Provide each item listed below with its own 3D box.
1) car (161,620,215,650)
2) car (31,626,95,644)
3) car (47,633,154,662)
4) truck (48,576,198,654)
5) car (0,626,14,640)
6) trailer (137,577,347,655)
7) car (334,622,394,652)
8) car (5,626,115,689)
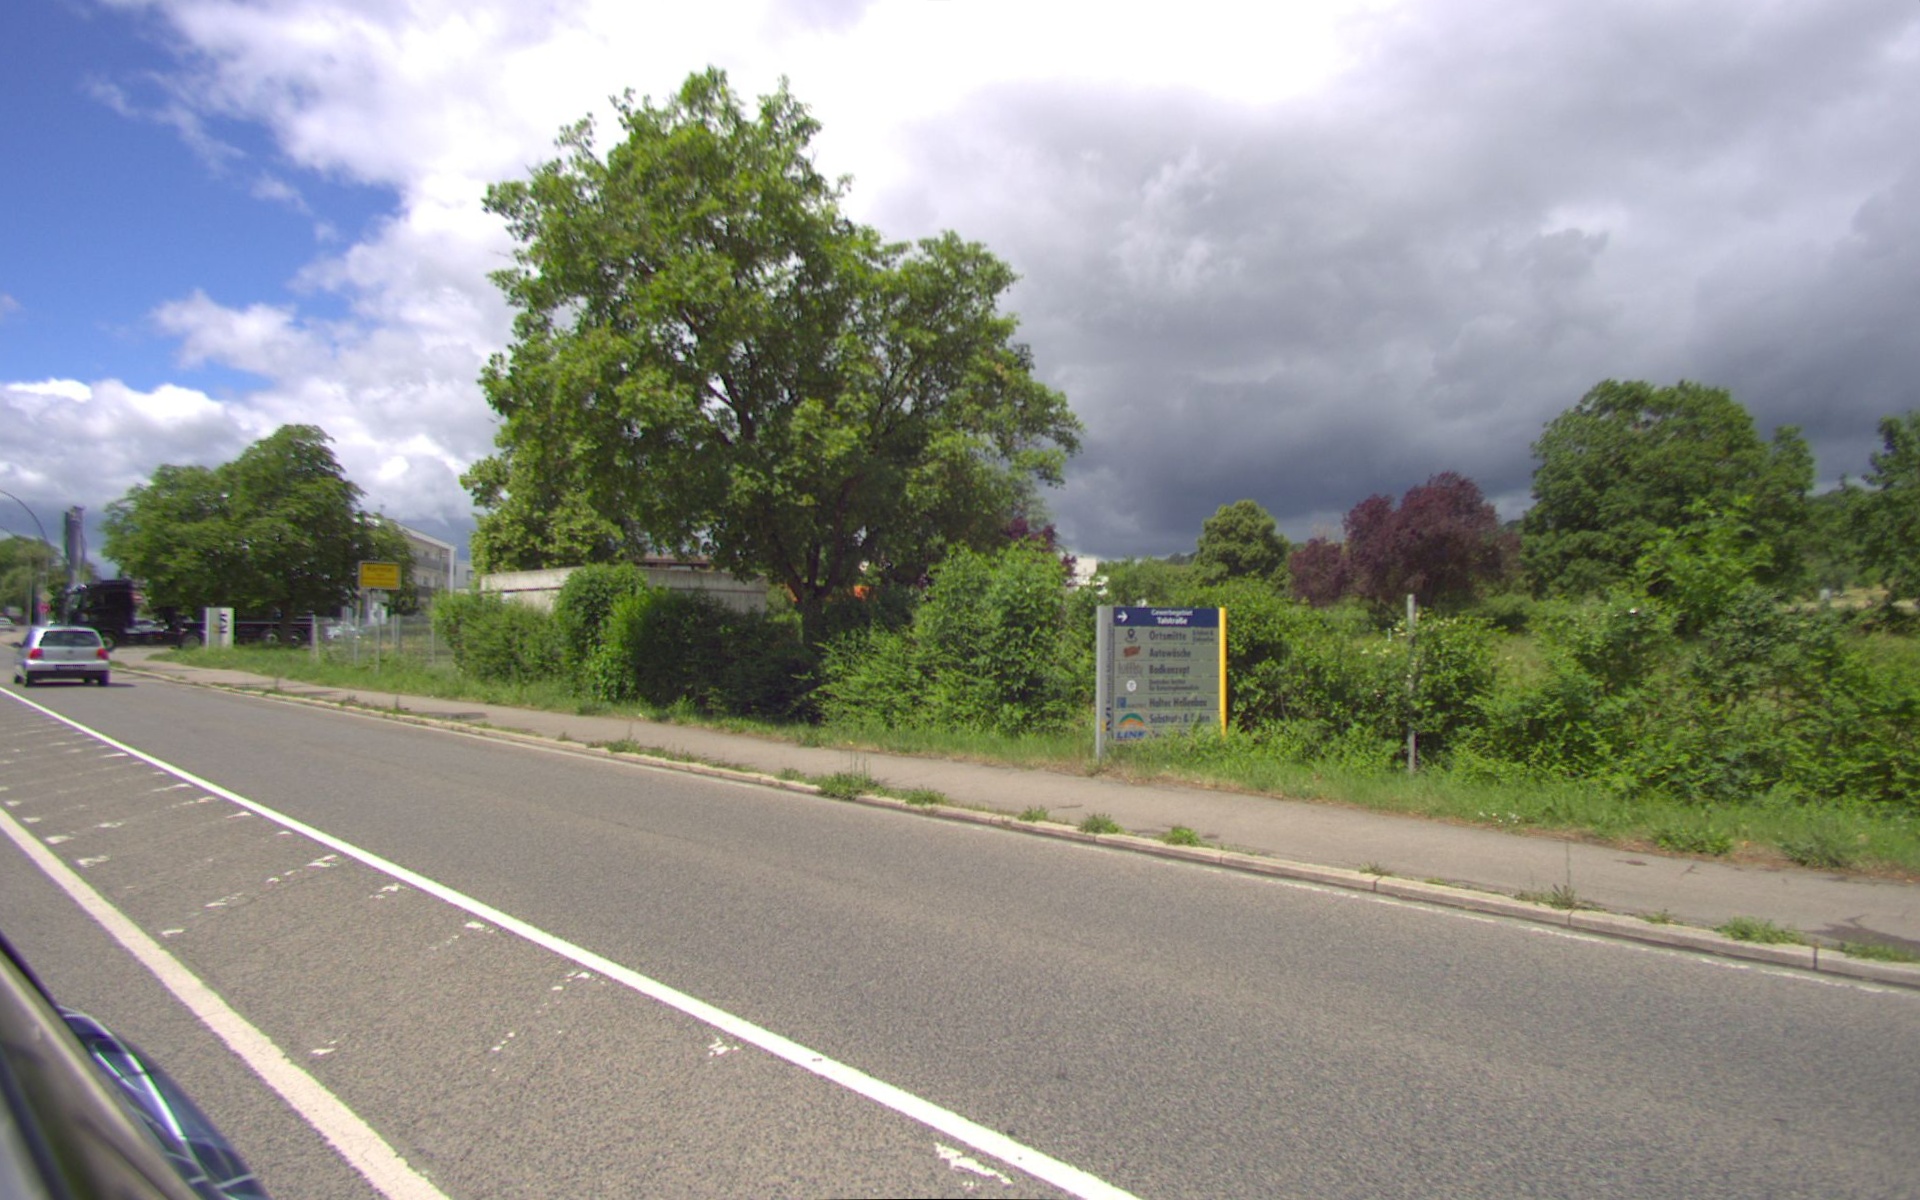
[{"bbox_3d":[-47.480,2.134,62.205,4.601,1.734,1.909,-1,-2,44],"label":"car"},{"bbox_3d":[-79.186,3.135,89.374,3.894,1.506,1.806,1,-2,-5],"label":"car"},{"bbox_3d":[-51.969,2.837,61.336,1.966,1.617,4.727,1,-2,10],"label":"car"},{"bbox_3d":[-44.080,0.856,53.436,2.980,3.853,5.502,-1,-2,37],"label":"truck"},{"bbox_3d":[-108.332,3.673,114.105,1.968,1.461,4.436,4,-4,-38],"label":"car"},{"bbox_3d":[-41.219,1.003,58.609,3.302,4.114,9.382,0,-2,26],"label":"trailer"},{"bbox_3d":[-39.370,2.442,66.928,1.927,1.890,4.124,1,-2,-7],"label":"car"},{"bbox_3d":[-22.397,1.414,25.145,3.692,1.443,1.642,-2,-4,43],"label":"car"}]
